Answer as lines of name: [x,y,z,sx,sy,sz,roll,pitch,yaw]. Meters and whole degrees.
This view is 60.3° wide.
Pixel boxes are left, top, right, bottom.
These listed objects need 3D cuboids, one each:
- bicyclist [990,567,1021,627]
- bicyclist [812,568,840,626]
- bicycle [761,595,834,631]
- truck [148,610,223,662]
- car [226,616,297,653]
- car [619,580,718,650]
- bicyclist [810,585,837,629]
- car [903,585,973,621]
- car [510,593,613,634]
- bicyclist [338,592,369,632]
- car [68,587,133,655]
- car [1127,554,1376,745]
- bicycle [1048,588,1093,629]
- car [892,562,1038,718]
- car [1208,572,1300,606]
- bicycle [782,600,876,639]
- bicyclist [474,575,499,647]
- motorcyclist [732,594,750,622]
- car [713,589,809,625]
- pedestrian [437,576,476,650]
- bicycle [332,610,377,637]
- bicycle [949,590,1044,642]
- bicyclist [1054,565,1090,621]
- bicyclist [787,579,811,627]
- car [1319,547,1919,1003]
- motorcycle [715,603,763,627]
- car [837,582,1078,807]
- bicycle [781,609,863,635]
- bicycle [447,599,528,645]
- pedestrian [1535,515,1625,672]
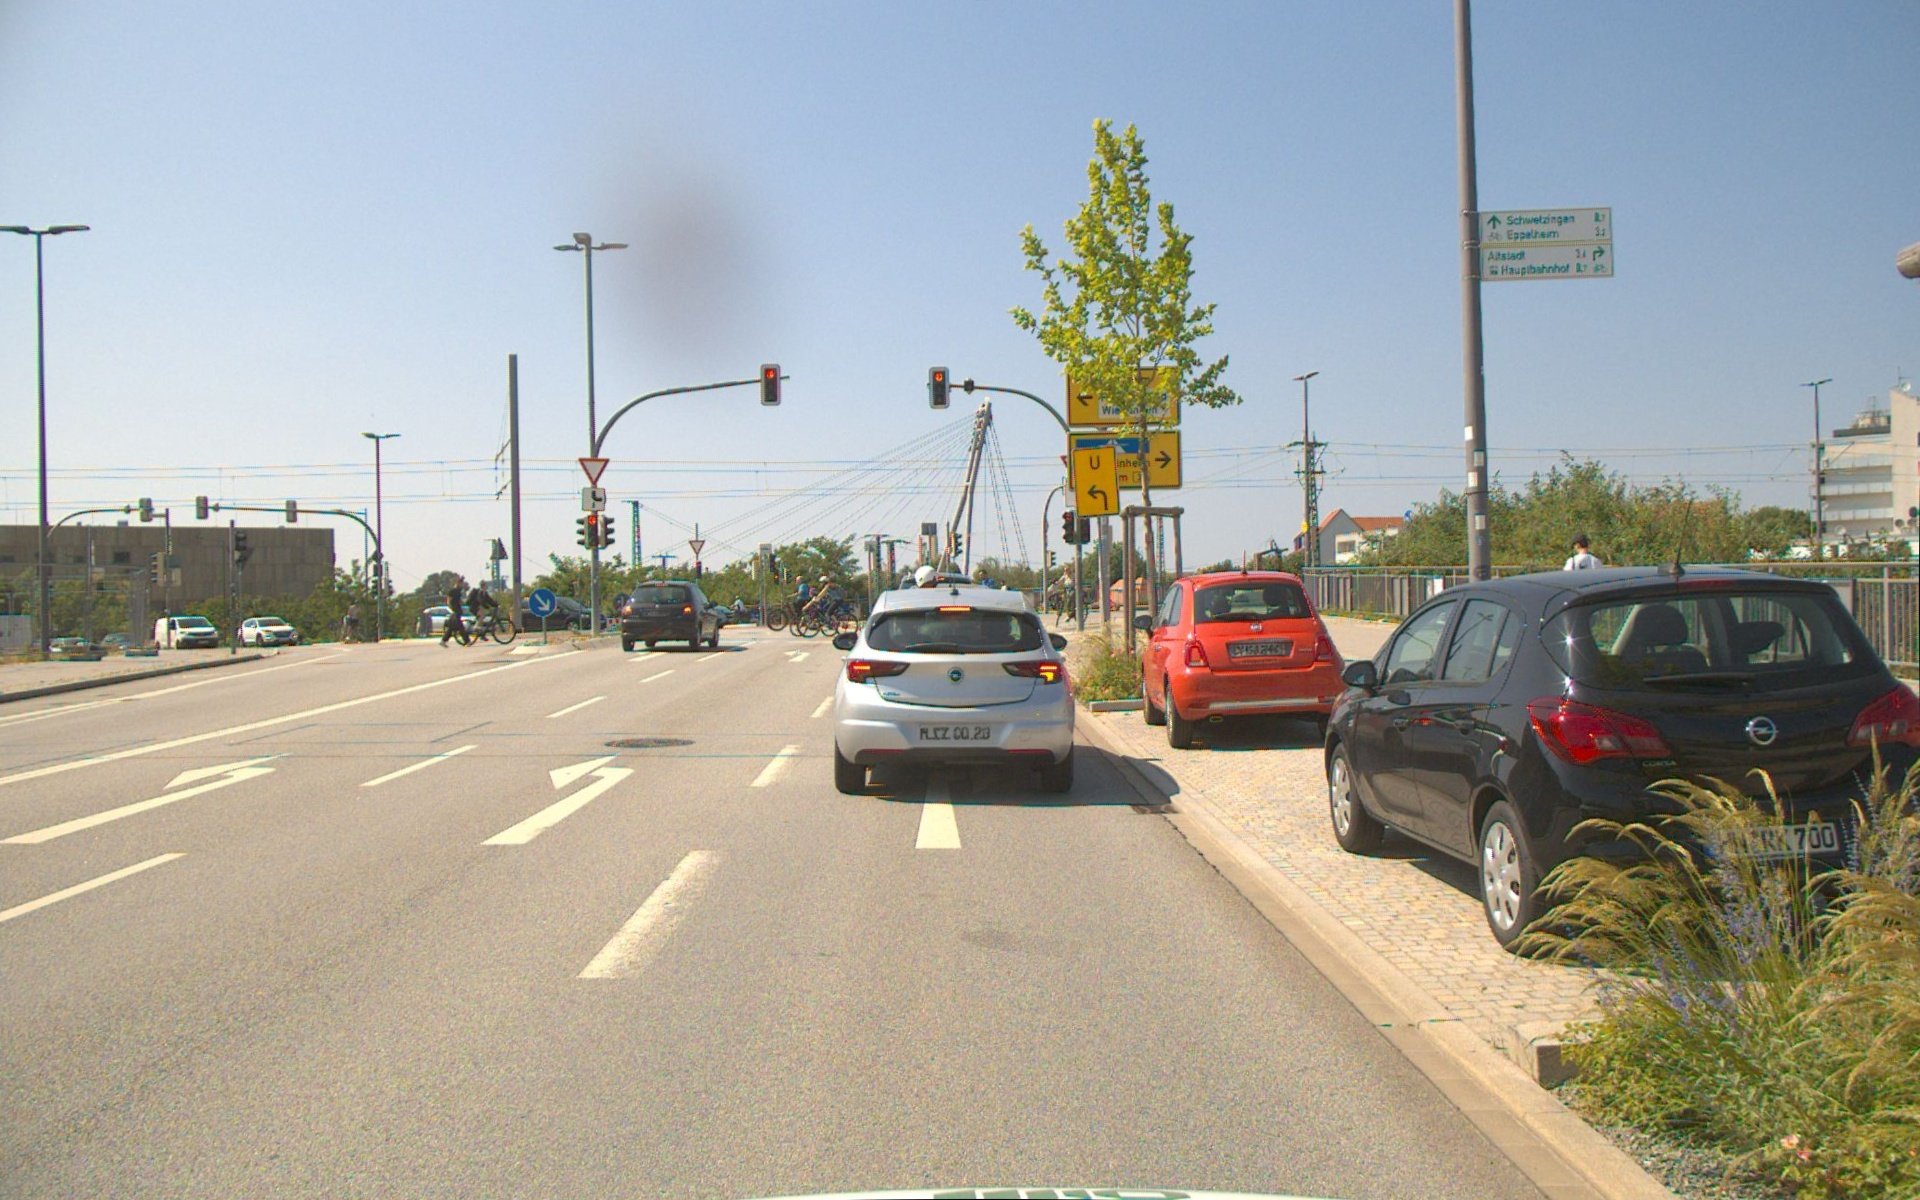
bicyclist: [1.250,-0.082,45.020,0.805,1.587,0.863,1,0,3]
bicyclist: [-3.586,-0.073,44.384,0.643,1.528,0.844,1,0,1]
bicycle: [-5.266,0.414,53.671,2.271,1.153,0.637,0,0,0]
truck: [-40.036,1.821,85.420,4.628,2.585,1.987,0,0,44]
car: [-36.440,1.769,86.244,3.975,1.846,1.920,0,0,43]
car: [-6.174,0.312,35.272,1.555,1.419,3.339,-1,0,-1]
bicyclist: [-3.733,0.187,45.311,0.643,1.196,0.731,1,0,1]
car: [-1.113,0.150,82.190,3.315,1.684,1.645,1,0,-7]
car: [-16.278,0.541,67.656,3.667,1.610,1.816,0,2,10]
bicyclist: [-25.164,0.502,68.638,0.756,1.638,0.948,0,-1,23]
car: [-27.089,0.645,52.097,1.652,2.049,3.960,1,0,-30]
car: [2.709,0.432,16.195,1.636,1.566,3.916,-3,0,-1]
bicycle: [3.225,0.255,48.095,0.661,1.147,2.365,1,0,20]
car: [0.023,0.452,20.302,1.601,1.703,3.744,1,0,-1]
car: [14.829,-0.556,83.468,4.179,1.703,1.990,0,0,-18]
bicycle: [-3.509,0.514,44.379,2.453,1.025,0.605,0,0,0]
bicyclist: [-12.763,0.286,44.569,0.584,1.920,0.634,1,-1,-13]
motorcyclist: [-11.825,0.416,89.337,0.792,1.502,0.885,1,0,0]
car: [-8.307,0.270,69.228,3.710,1.386,1.533,-1,1,5]
pedestrian: [-13.148,0.342,43.191,0.724,1.896,0.754,1,-1,6]
bicycle: [-25.113,0.966,68.610,1.828,1.087,0.578,1,0,23]
bicycle: [1.000,0.441,44.990,2.472,1.153,0.729,-5,2,2]
bicyclist: [3.277,-0.196,48.269,0.803,1.596,0.948,1,0,20]
bicyclist: [-5.229,0.094,53.686,0.704,1.530,0.824,0,0,0]
car: [2.922,0.612,7.840,1.549,1.582,3.546,-3,1,-1]
motorcycle: [-11.947,0.820,89.361,2.485,1.255,0.648,1,0,-2]
car: [-0.046,0.633,13.501,1.656,1.546,4.270,0,0,-1]
bicycle: [-3.772,0.597,45.301,2.200,0.704,0.516,0,0,0]
bicycle: [-12.716,0.594,44.579,2.045,1.198,0.553,1,-1,-14]
pedestrian: [7.530,-0.077,20.117,0.742,1.862,0.885,1,0,-1]
